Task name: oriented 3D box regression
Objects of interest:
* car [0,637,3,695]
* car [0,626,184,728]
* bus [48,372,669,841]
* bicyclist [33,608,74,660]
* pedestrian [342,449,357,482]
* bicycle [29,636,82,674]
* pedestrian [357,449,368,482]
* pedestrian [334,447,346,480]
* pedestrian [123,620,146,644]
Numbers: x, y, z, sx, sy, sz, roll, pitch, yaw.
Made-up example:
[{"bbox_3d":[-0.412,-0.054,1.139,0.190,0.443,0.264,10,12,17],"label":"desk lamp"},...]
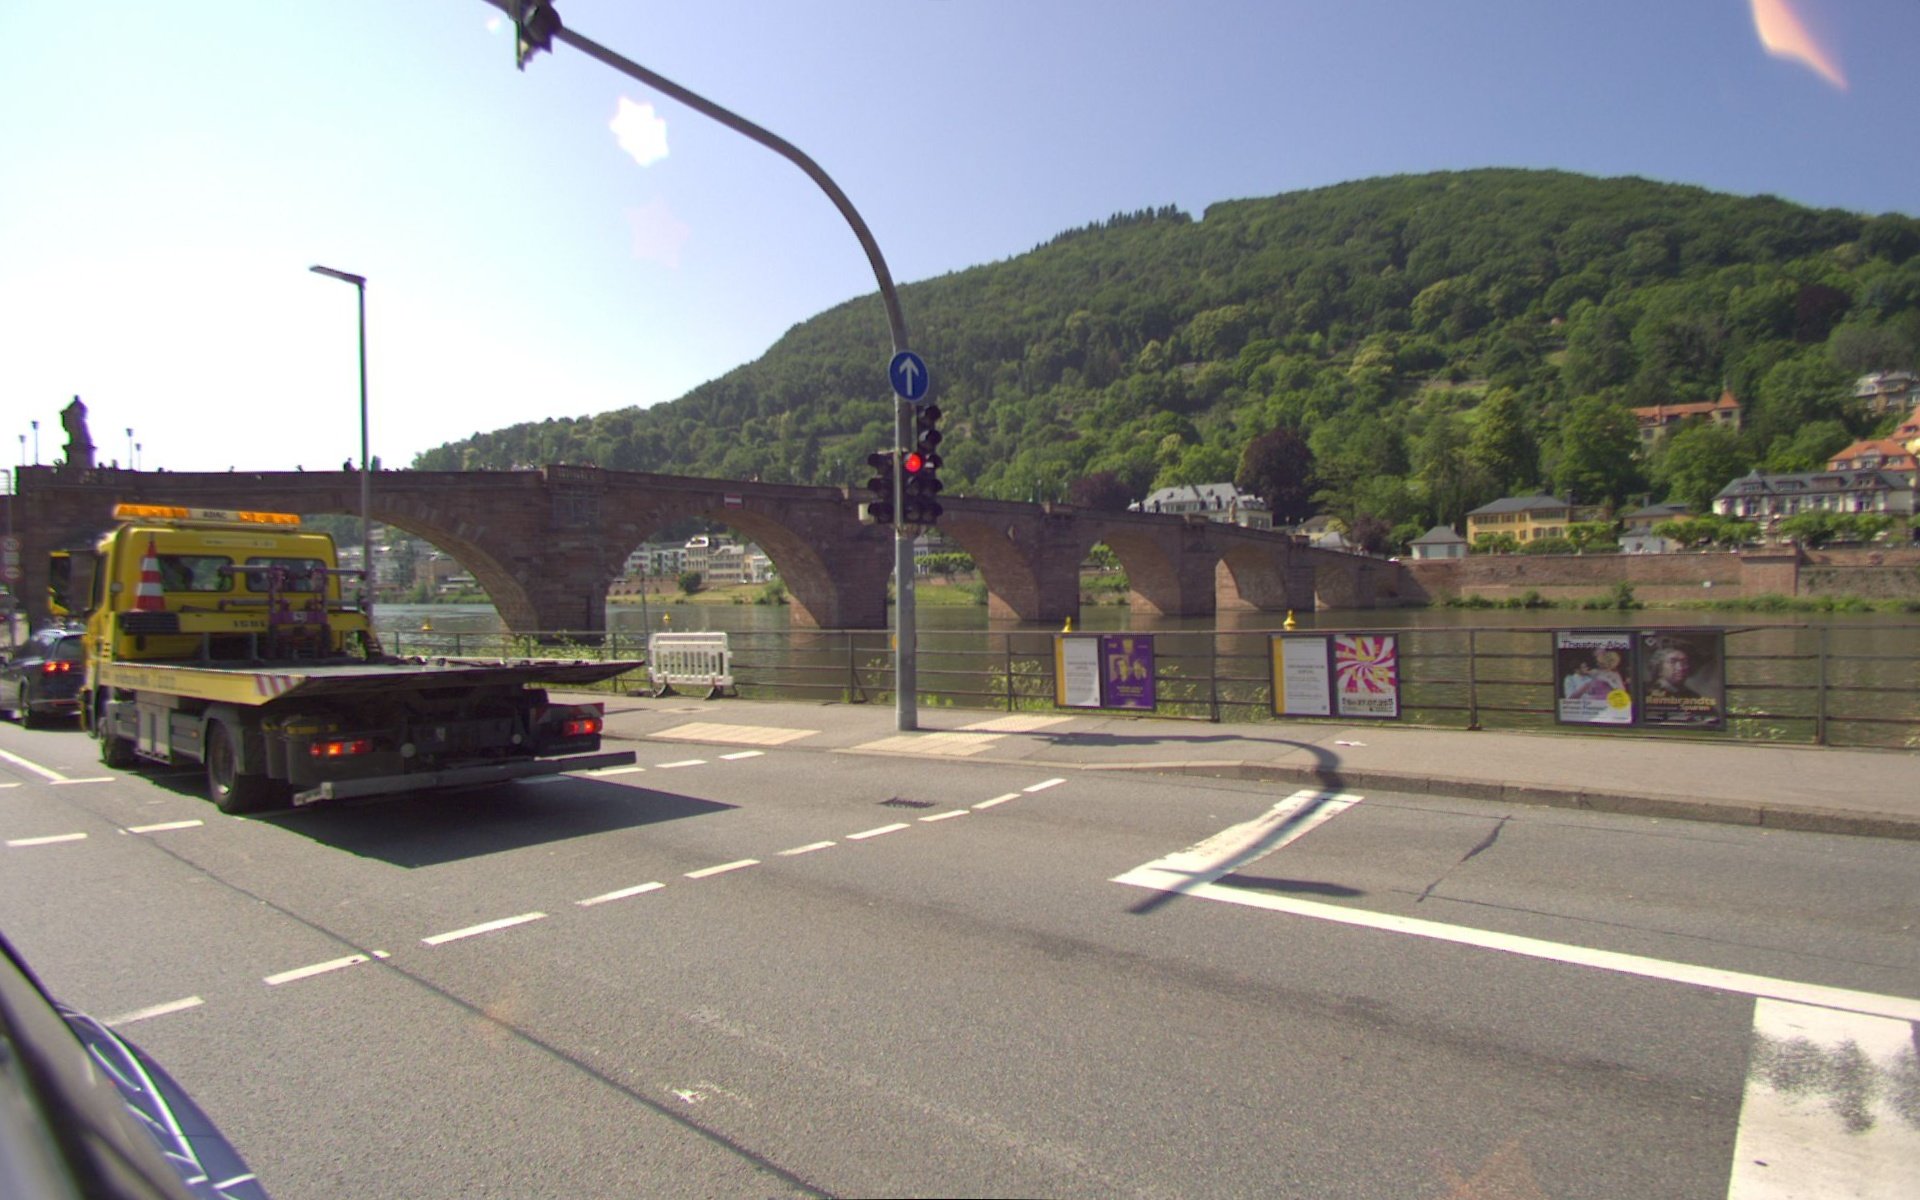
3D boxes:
[{"bbox_3d":[-27.034,1.797,26.821,4.317,1.502,1.713,-3,-2,37],"label":"car"},{"bbox_3d":[-14.461,1.174,16.587,4.352,1.417,1.791,-2,-1,39],"label":"car"},{"bbox_3d":[-6.460,0.171,9.986,8.438,2.918,2.571,-2,-2,39],"label":"bus"},{"bbox_3d":[-29.477,1.101,32.916,0.976,1.644,0.662,-1,2,31],"label":"bicyclist"},{"bbox_3d":[-39.458,-8.671,65.400,0.625,2.029,0.686,1,1,40],"label":"pedestrian"},{"bbox_3d":[-29.448,1.782,32.943,2.027,1.121,0.662,0,3,31],"label":"bicycle"},{"bbox_3d":[-38.904,-8.744,65.905,0.639,2.029,0.461,1,1,40],"label":"pedestrian"},{"bbox_3d":[-39.796,-8.735,64.940,0.639,2.029,0.461,1,1,40],"label":"pedestrian"},{"bbox_3d":[-44.372,1.720,54.376,1.026,1.239,0.780,-2,0,42],"label":"pedestrian"}]
